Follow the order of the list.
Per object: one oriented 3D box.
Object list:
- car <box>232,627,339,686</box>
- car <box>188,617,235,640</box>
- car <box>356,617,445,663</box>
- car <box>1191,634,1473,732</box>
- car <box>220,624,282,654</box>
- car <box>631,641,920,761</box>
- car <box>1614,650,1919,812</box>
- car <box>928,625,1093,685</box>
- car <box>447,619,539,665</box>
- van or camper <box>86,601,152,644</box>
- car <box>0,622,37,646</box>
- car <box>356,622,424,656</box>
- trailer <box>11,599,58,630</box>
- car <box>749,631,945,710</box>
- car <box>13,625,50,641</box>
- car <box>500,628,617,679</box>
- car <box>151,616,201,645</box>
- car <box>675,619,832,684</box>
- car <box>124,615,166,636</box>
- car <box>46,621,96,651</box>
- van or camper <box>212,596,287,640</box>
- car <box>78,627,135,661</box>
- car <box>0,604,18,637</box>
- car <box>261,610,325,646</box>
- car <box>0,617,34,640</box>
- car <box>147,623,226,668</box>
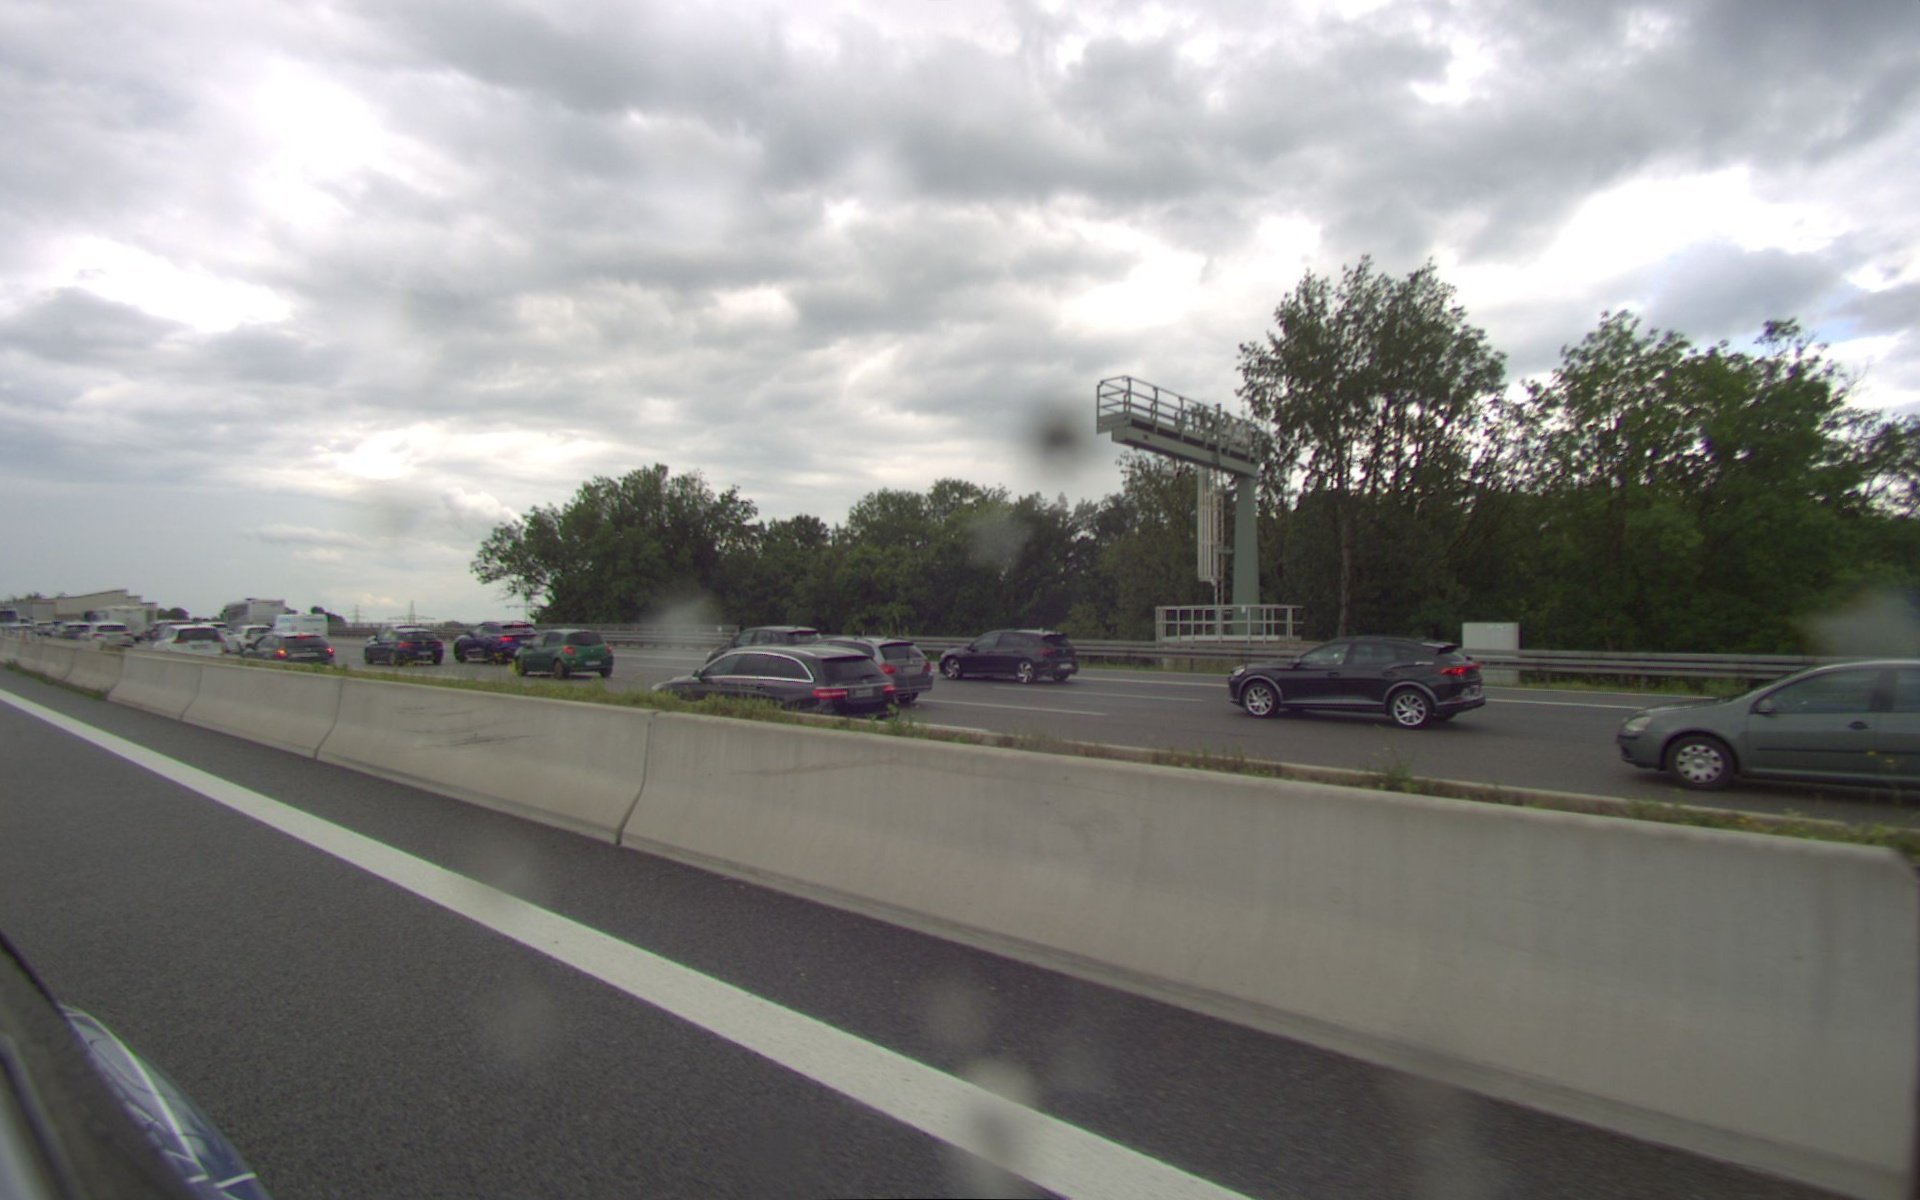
[{"bbox_3d":[-21.875,1.765,32.739,4.992,1.658,1.705,-1,0,42],"label":"car"},{"bbox_3d":[-52.317,1.948,70.712,5.018,1.467,1.705,-1,0,42],"label":"car"},{"bbox_3d":[-22.124,1.540,39.973,4.518,1.658,1.705,-1,0,42],"label":"car"},{"bbox_3d":[6.643,1.407,18.413,4.518,1.439,1.705,-1,0,42],"label":"car"},{"bbox_3d":[-36.850,1.990,52.559,4.518,1.426,1.705,-1,0,42],"label":"car"},{"bbox_3d":[-3.099,1.472,16.109,5.229,1.439,1.705,-1,0,42],"label":"car"},{"bbox_3d":[9.779,1.357,10.778,4.518,1.439,1.705,-1,0,42],"label":"car"},{"bbox_3d":[1.332,1.477,28.133,4.518,1.439,1.705,-1,0,42],"label":"car"},{"bbox_3d":[-18.725,1.644,40.471,4.518,1.658,1.705,-1,0,42],"label":"car"},{"bbox_3d":[-61.974,1.636,74.519,7.354,2.973,2.598,-1,0,41],"label":"van or camper"},{"bbox_3d":[-70.290,2.486,75.482,4.518,1.658,1.705,-1,0,42],"label":"car"},{"bbox_3d":[-27.433,1.850,48.662,3.959,1.489,1.705,-1,0,42],"label":"car"},{"bbox_3d":[-128.034,2.053,139.900,14.441,4.062,2.902,-2,-1,40],"label":"trailer"},{"bbox_3d":[-2.557,1.469,22.193,4.518,1.439,1.705,-1,0,42],"label":"car"},{"bbox_3d":[-88.609,3.129,96.537,4.515,1.546,2.039,-1,-1,40],"label":"car"},{"bbox_3d":[-12.536,1.622,31.491,4.201,1.429,1.704,-1,-2,42],"label":"car"},{"bbox_3d":[-48.643,1.858,62.746,4.518,1.658,1.705,-1,0,42],"label":"car"},{"bbox_3d":[-6.083,1.413,29.435,5.235,1.658,1.705,-1,0,42],"label":"car"},{"bbox_3d":[-64.571,2.008,80.130,5.018,1.559,1.828,-1,0,42],"label":"car"},{"bbox_3d":[-54.371,2.166,61.871,5.061,1.658,1.705,-1,0,42],"label":"car"},{"bbox_3d":[-53.629,1.329,76.302,8.472,3.146,2.598,-1,0,41],"label":"van or camper"},{"bbox_3d":[-46.345,2.332,54.931,5.061,1.658,1.705,-1,0,42],"label":"car"},{"bbox_3d":[-84.734,1.852,88.692,9.158,2.770,2.208,-3,-2,41],"label":"car"},{"bbox_3d":[-38.103,1.571,57.753,5.546,1.950,1.670,-1,0,41],"label":"car"},{"bbox_3d":[-98.018,2.927,105.038,5.890,2.253,2.039,-1,-1,40],"label":"car"},{"bbox_3d":[-31.909,1.824,41.700,4.997,1.658,1.705,-1,0,42],"label":"car"}]
